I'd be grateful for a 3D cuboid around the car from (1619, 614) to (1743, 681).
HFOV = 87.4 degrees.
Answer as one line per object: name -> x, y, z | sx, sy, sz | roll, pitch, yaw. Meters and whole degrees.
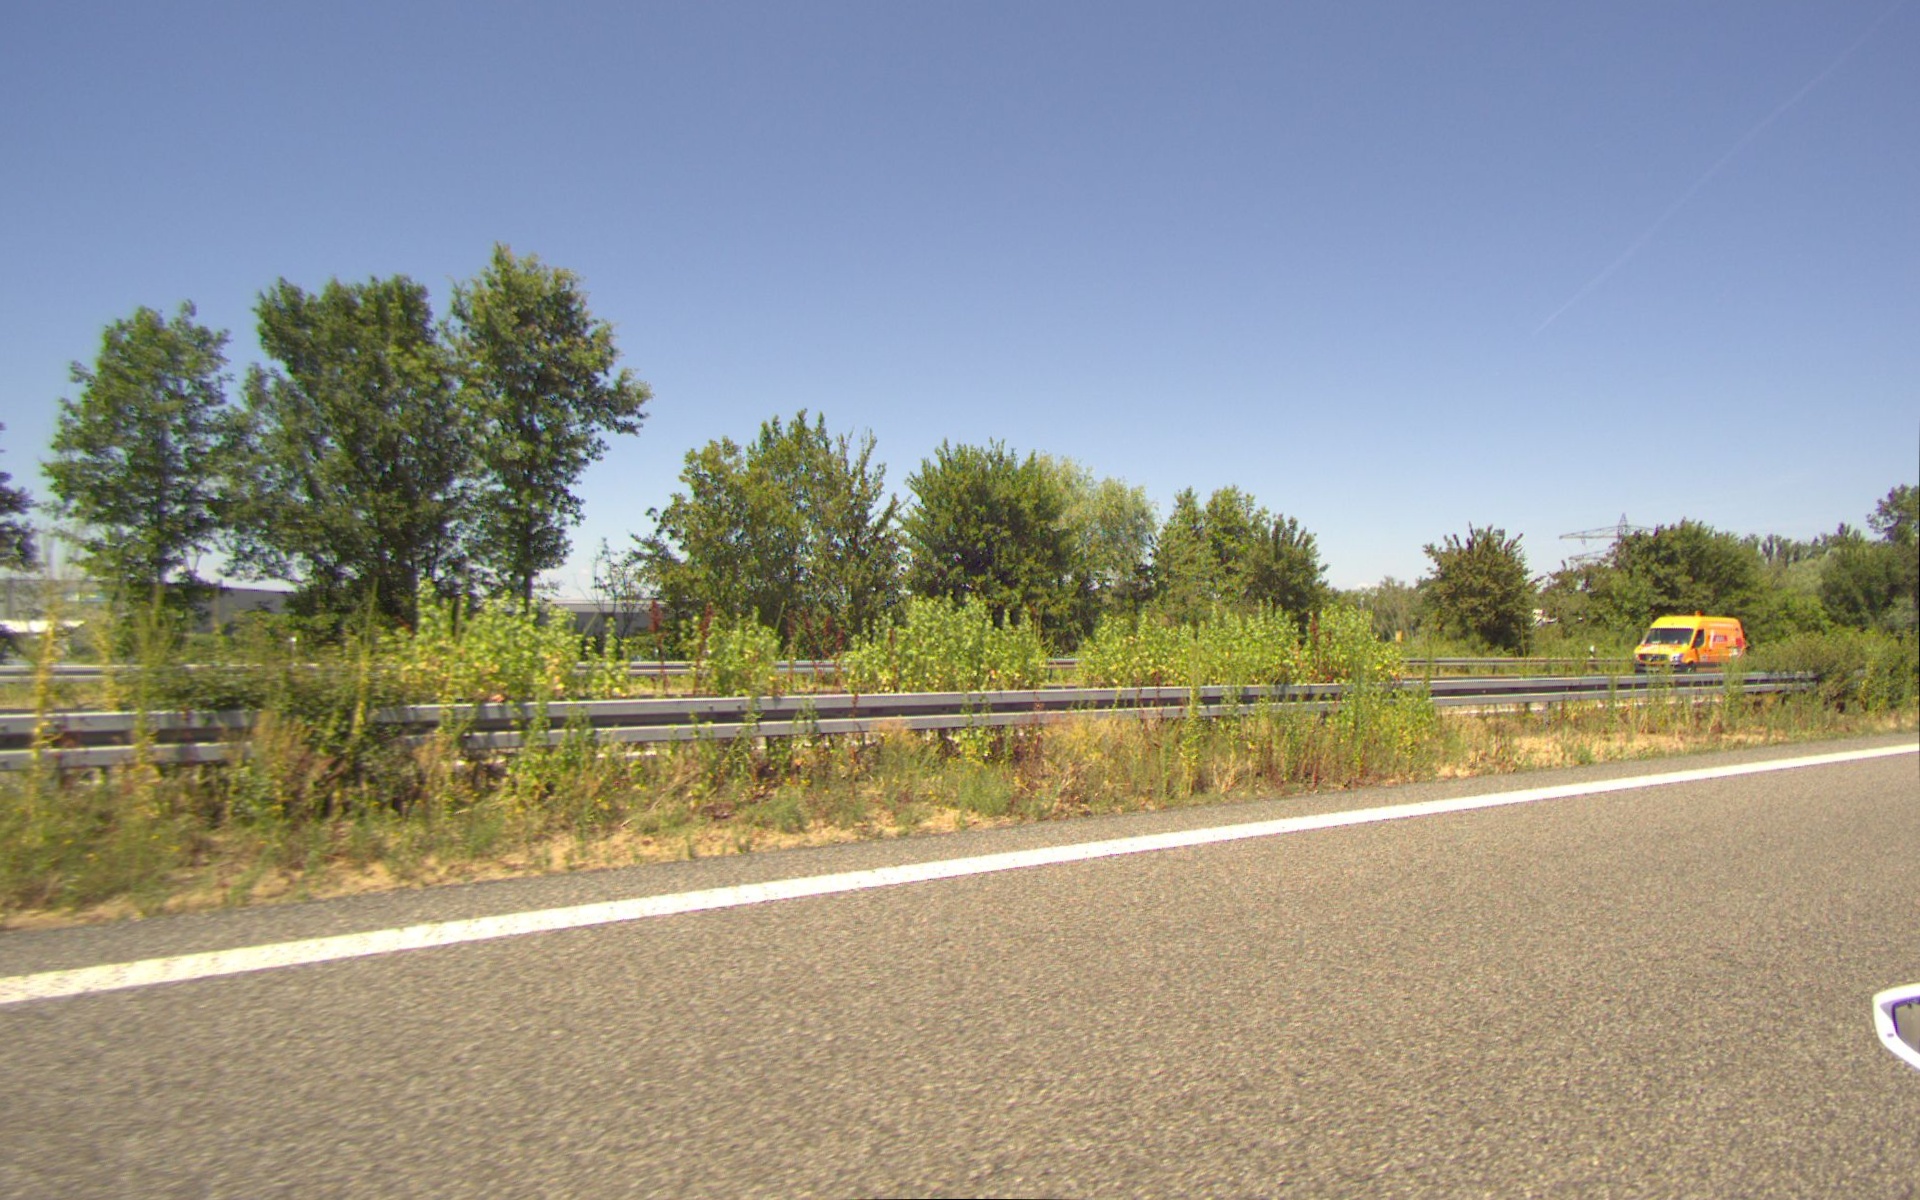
car -> 29.755, 1.860, 41.398 | 6.119, 2.591, 2.090 | 0, -1, -33
